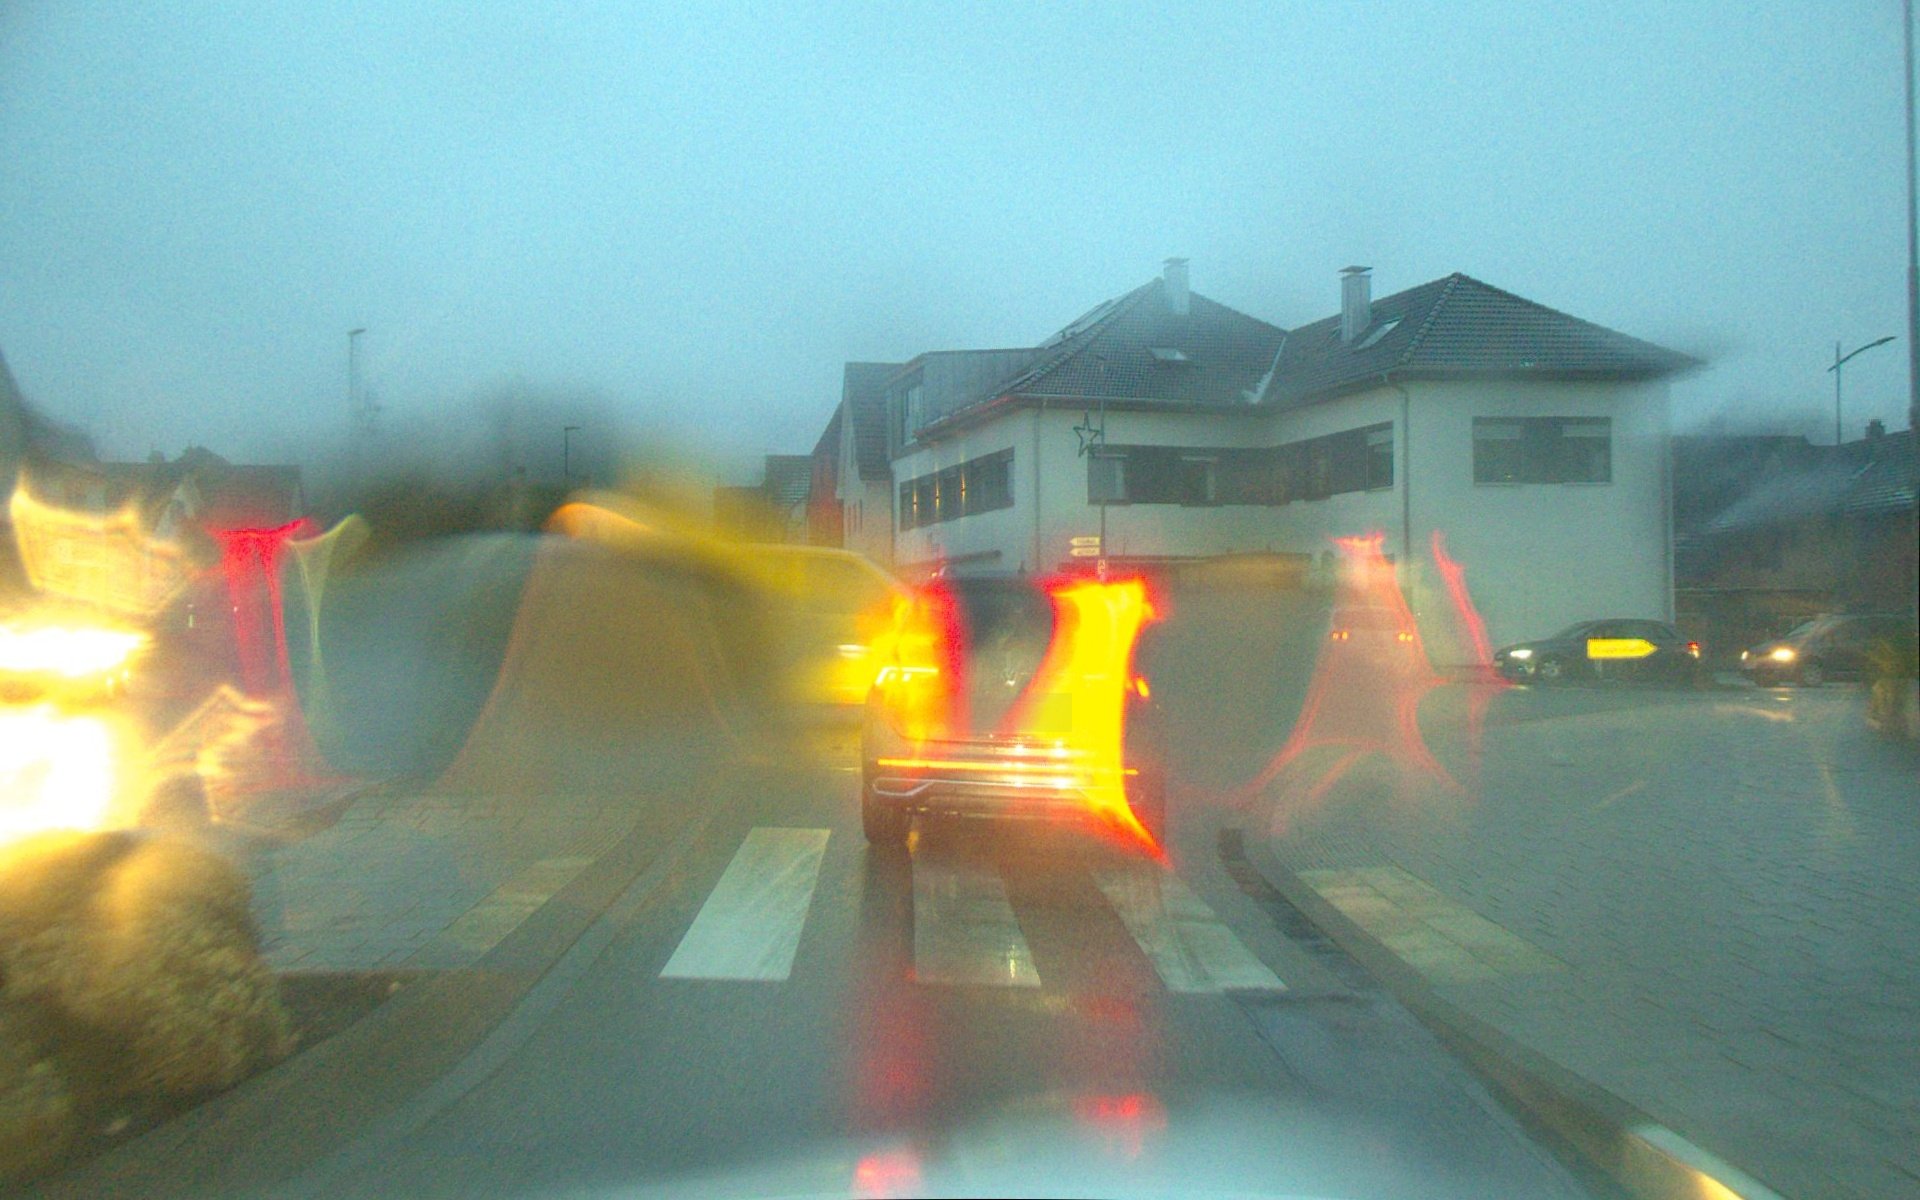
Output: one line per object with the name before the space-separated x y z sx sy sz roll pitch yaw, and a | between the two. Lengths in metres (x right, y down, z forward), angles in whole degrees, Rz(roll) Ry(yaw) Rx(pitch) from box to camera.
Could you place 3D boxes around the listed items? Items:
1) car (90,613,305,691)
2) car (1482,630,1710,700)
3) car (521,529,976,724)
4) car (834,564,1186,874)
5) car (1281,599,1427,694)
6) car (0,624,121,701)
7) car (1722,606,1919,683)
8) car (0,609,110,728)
car | -16.872 1.139 36.769 3.978 1.691 1.701 0 0 -7
car | 13.450 1.395 35.117 4.138 1.408 1.848 0 -3 -5
car | -2.243 0.291 18.484 4.785 2.049 1.999 0 0 -1
car | 0.394 0.628 10.830 1.875 1.643 3.952 0 0 4
car | 6.912 0.767 29.357 1.741 1.566 3.933 0 0 1
car | -18.515 1.260 33.274 1.678 1.447 4.005 0 -2 -8
car | 18.696 0.963 35.507 3.907 1.579 1.696 1 -2 -2
car | -12.085 0.840 21.731 1.484 1.436 3.340 0 0 -25
